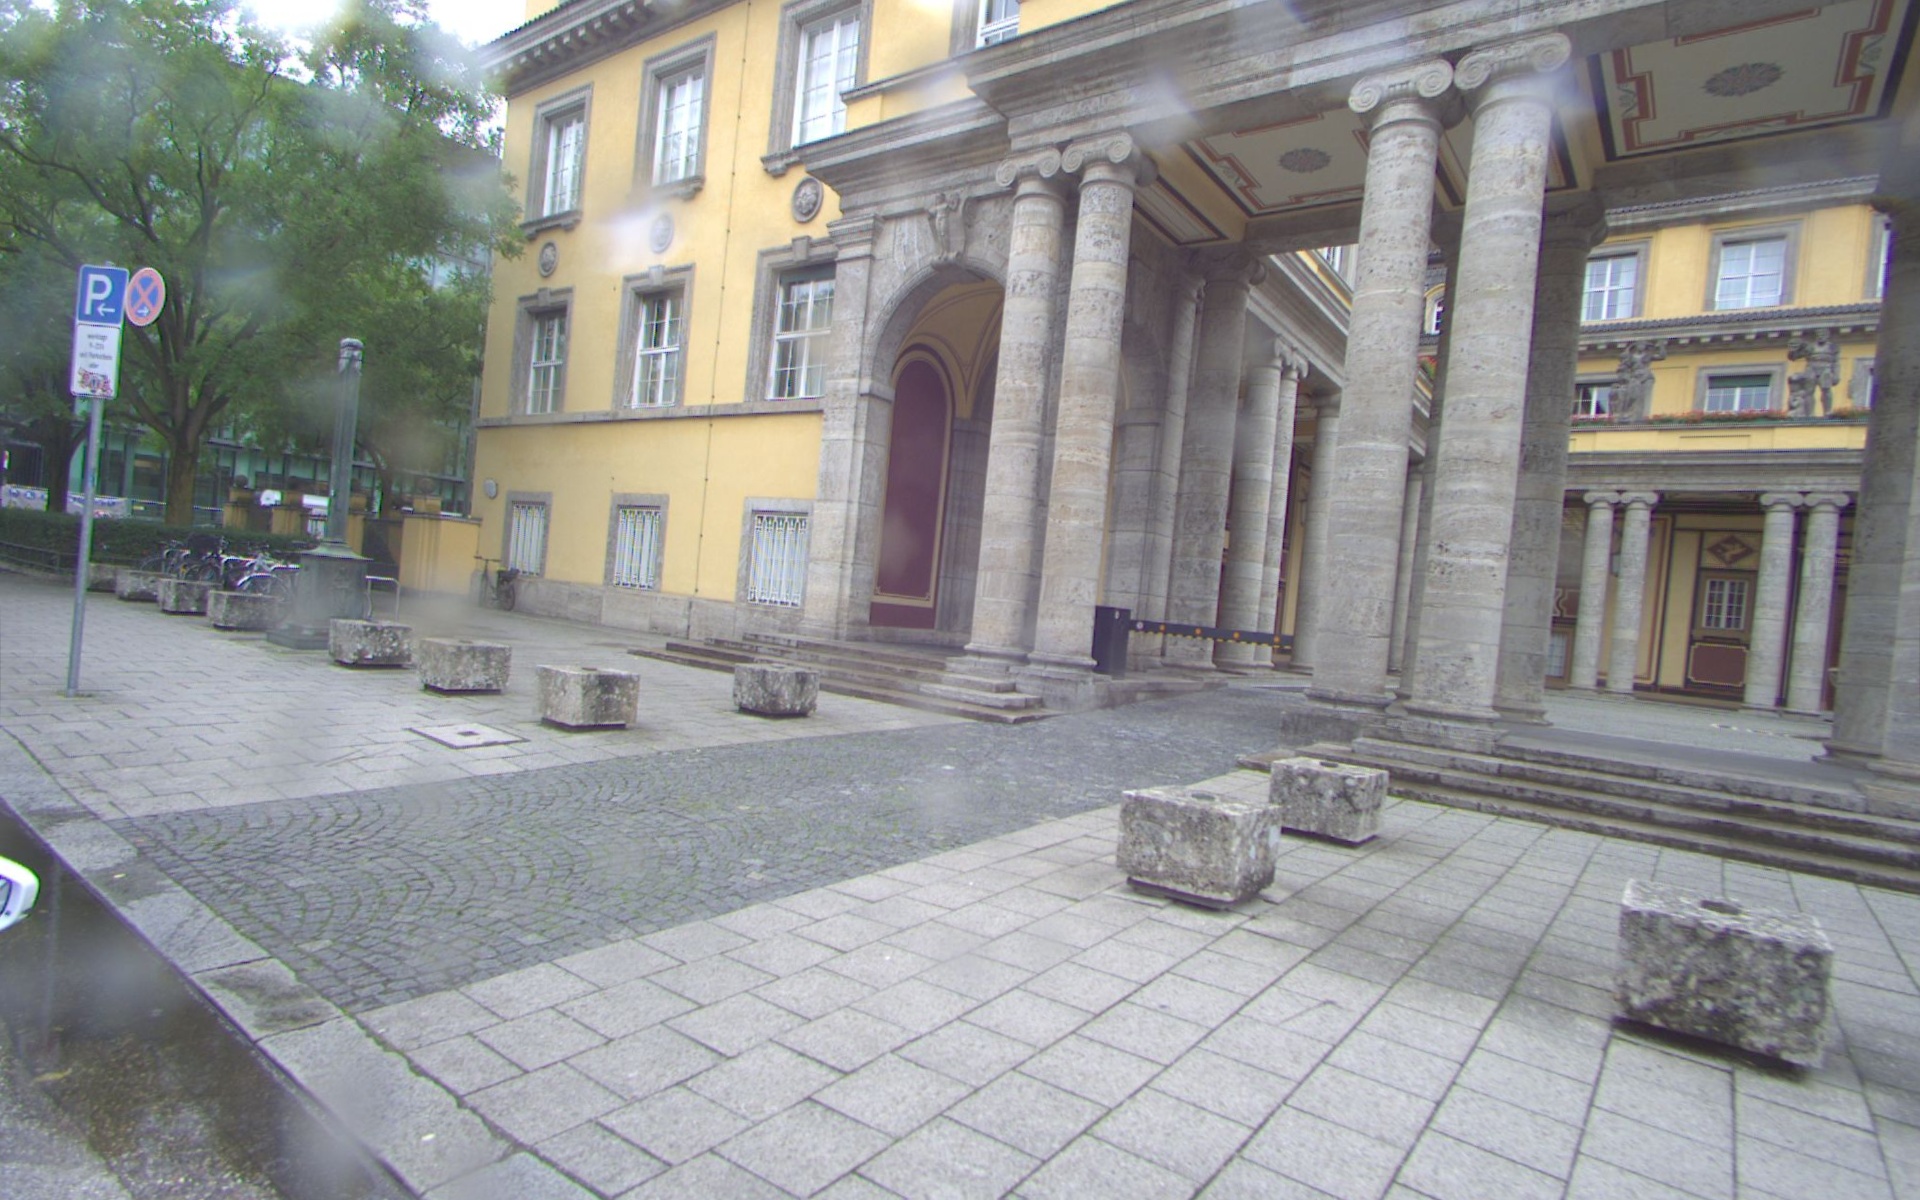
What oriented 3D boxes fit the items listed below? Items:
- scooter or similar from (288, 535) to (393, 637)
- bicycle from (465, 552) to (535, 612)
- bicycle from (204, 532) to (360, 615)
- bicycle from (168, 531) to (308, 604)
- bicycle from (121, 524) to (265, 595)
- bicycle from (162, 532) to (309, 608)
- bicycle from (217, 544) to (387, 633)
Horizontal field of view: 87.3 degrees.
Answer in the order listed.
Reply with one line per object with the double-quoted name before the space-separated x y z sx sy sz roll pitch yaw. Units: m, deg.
"scooter or similar" -8.248 -0.185 13.416 0.994 1.238 0.537 5 2 -8
"bicycle" -10.478 -0.420 22.876 1.872 1.169 0.542 7 2 36
"bicycle" -10.552 -0.387 15.719 0.464 1.128 1.928 7 2 39
"bicycle" -12.746 -0.544 17.817 0.464 1.128 1.929 7 2 38
"bicycle" -14.056 -0.718 18.499 0.464 1.128 2.031 6 2 34
"bicycle" -12.292 -0.490 17.130 0.464 1.128 1.928 7 2 39
"bicycle" -9.246 -0.139 14.222 0.464 1.128 1.931 6 2 34
